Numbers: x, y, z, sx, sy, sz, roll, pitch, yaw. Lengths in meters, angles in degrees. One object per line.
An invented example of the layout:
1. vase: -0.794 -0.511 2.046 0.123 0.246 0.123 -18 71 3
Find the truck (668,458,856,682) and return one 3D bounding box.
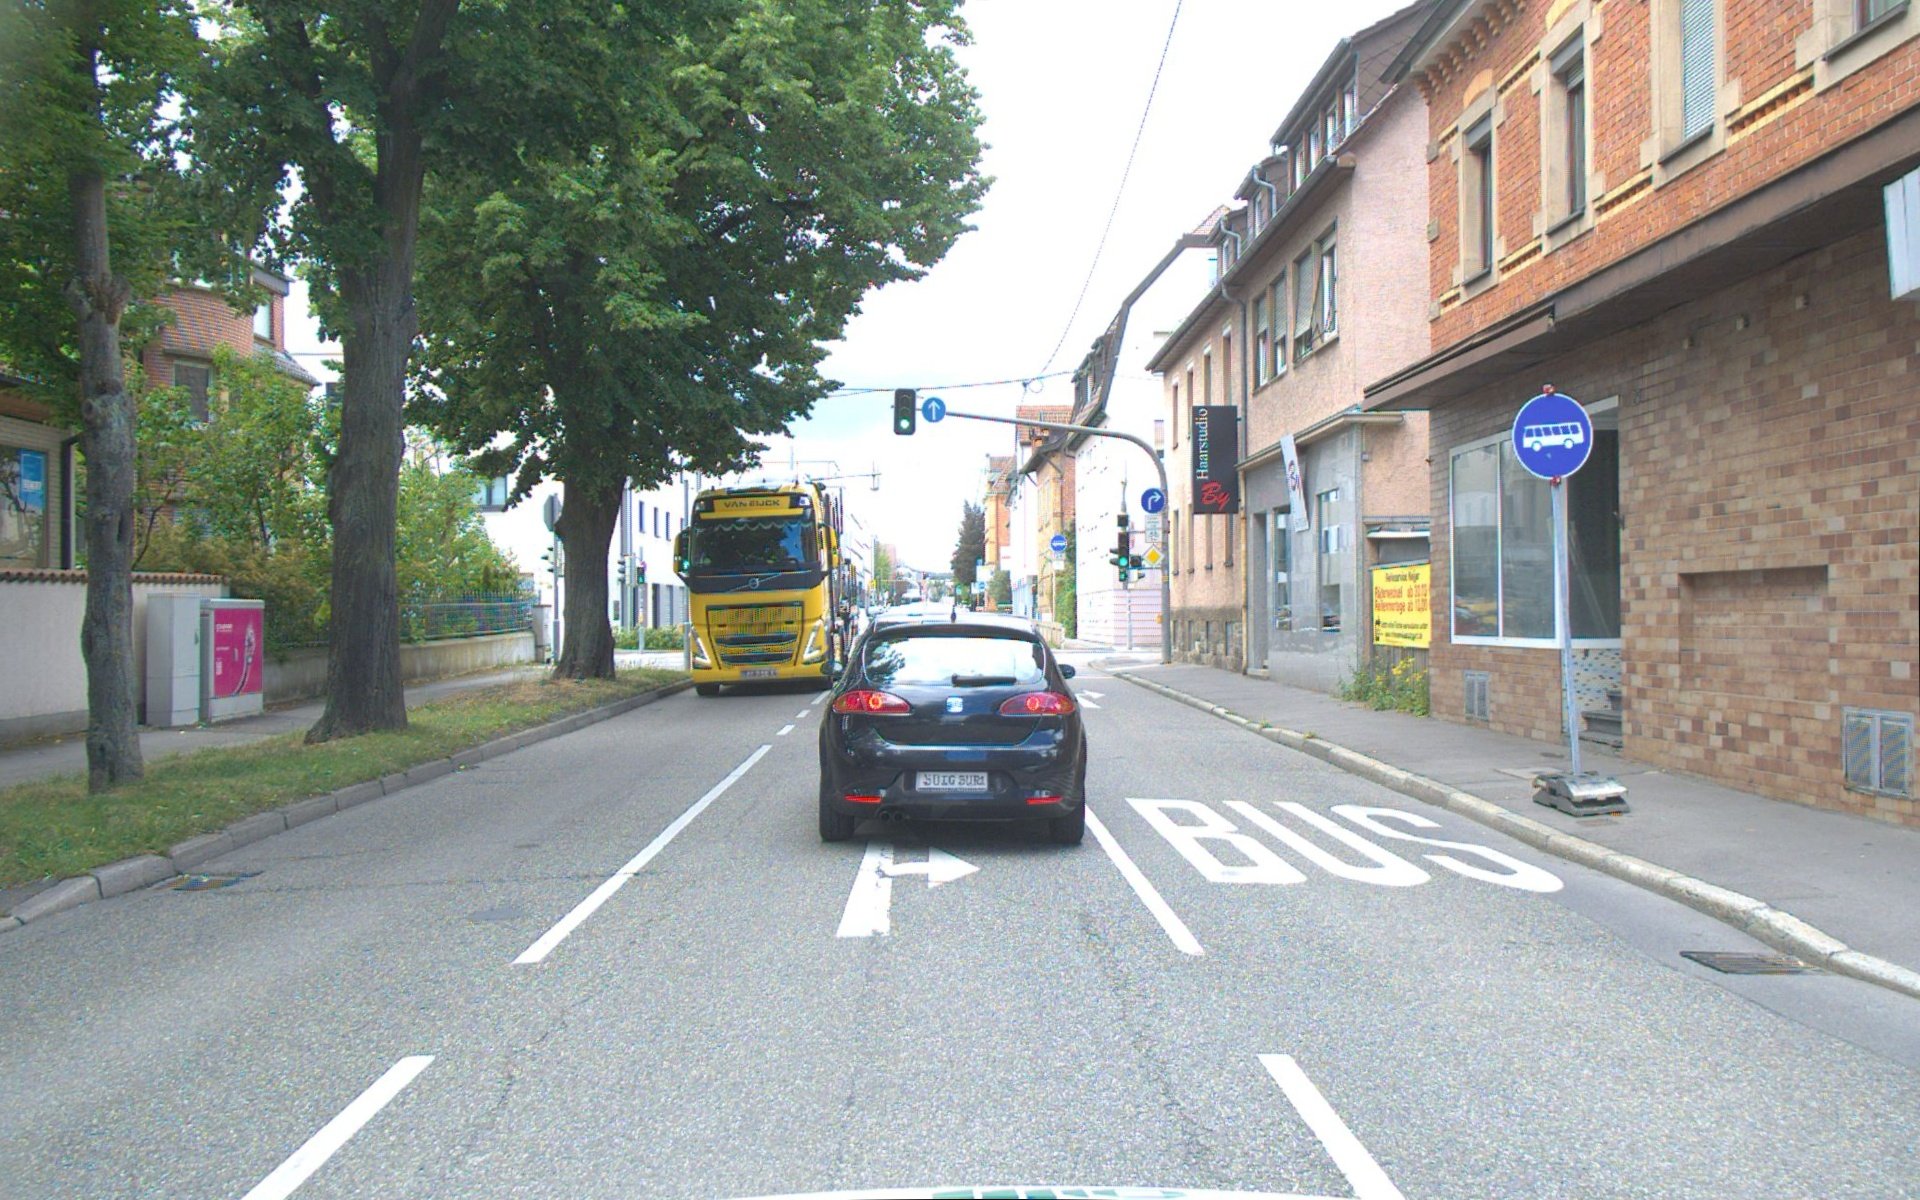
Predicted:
1. truck: -3.659 -0.472 32.378 2.786 3.849 7.667 1 -1 -1

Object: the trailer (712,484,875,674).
1. trailer: -3.773 -0.343 41.120 2.800 3.875 14.387 1 -1 -1

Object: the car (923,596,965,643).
1. car: -0.624 0.740 62.247 1.500 1.723 3.692 1 -1 -2

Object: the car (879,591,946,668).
1. car: -1.117 0.688 39.390 1.500 1.723 3.692 1 -1 -2

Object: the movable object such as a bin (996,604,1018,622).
1. movable object such as a bin: 3.916 1.056 137.343 1.781 1.462 1.992 1 -1 0

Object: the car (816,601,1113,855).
1. car: -0.013 0.776 11.677 1.723 1.467 3.999 1 -1 -1

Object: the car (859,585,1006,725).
1. car: -0.389 0.714 22.600 1.805 1.723 3.998 1 -1 -2

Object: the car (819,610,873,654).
1. car: -4.326 1.206 63.199 1.731 1.495 4.225 -3 -1 -1
